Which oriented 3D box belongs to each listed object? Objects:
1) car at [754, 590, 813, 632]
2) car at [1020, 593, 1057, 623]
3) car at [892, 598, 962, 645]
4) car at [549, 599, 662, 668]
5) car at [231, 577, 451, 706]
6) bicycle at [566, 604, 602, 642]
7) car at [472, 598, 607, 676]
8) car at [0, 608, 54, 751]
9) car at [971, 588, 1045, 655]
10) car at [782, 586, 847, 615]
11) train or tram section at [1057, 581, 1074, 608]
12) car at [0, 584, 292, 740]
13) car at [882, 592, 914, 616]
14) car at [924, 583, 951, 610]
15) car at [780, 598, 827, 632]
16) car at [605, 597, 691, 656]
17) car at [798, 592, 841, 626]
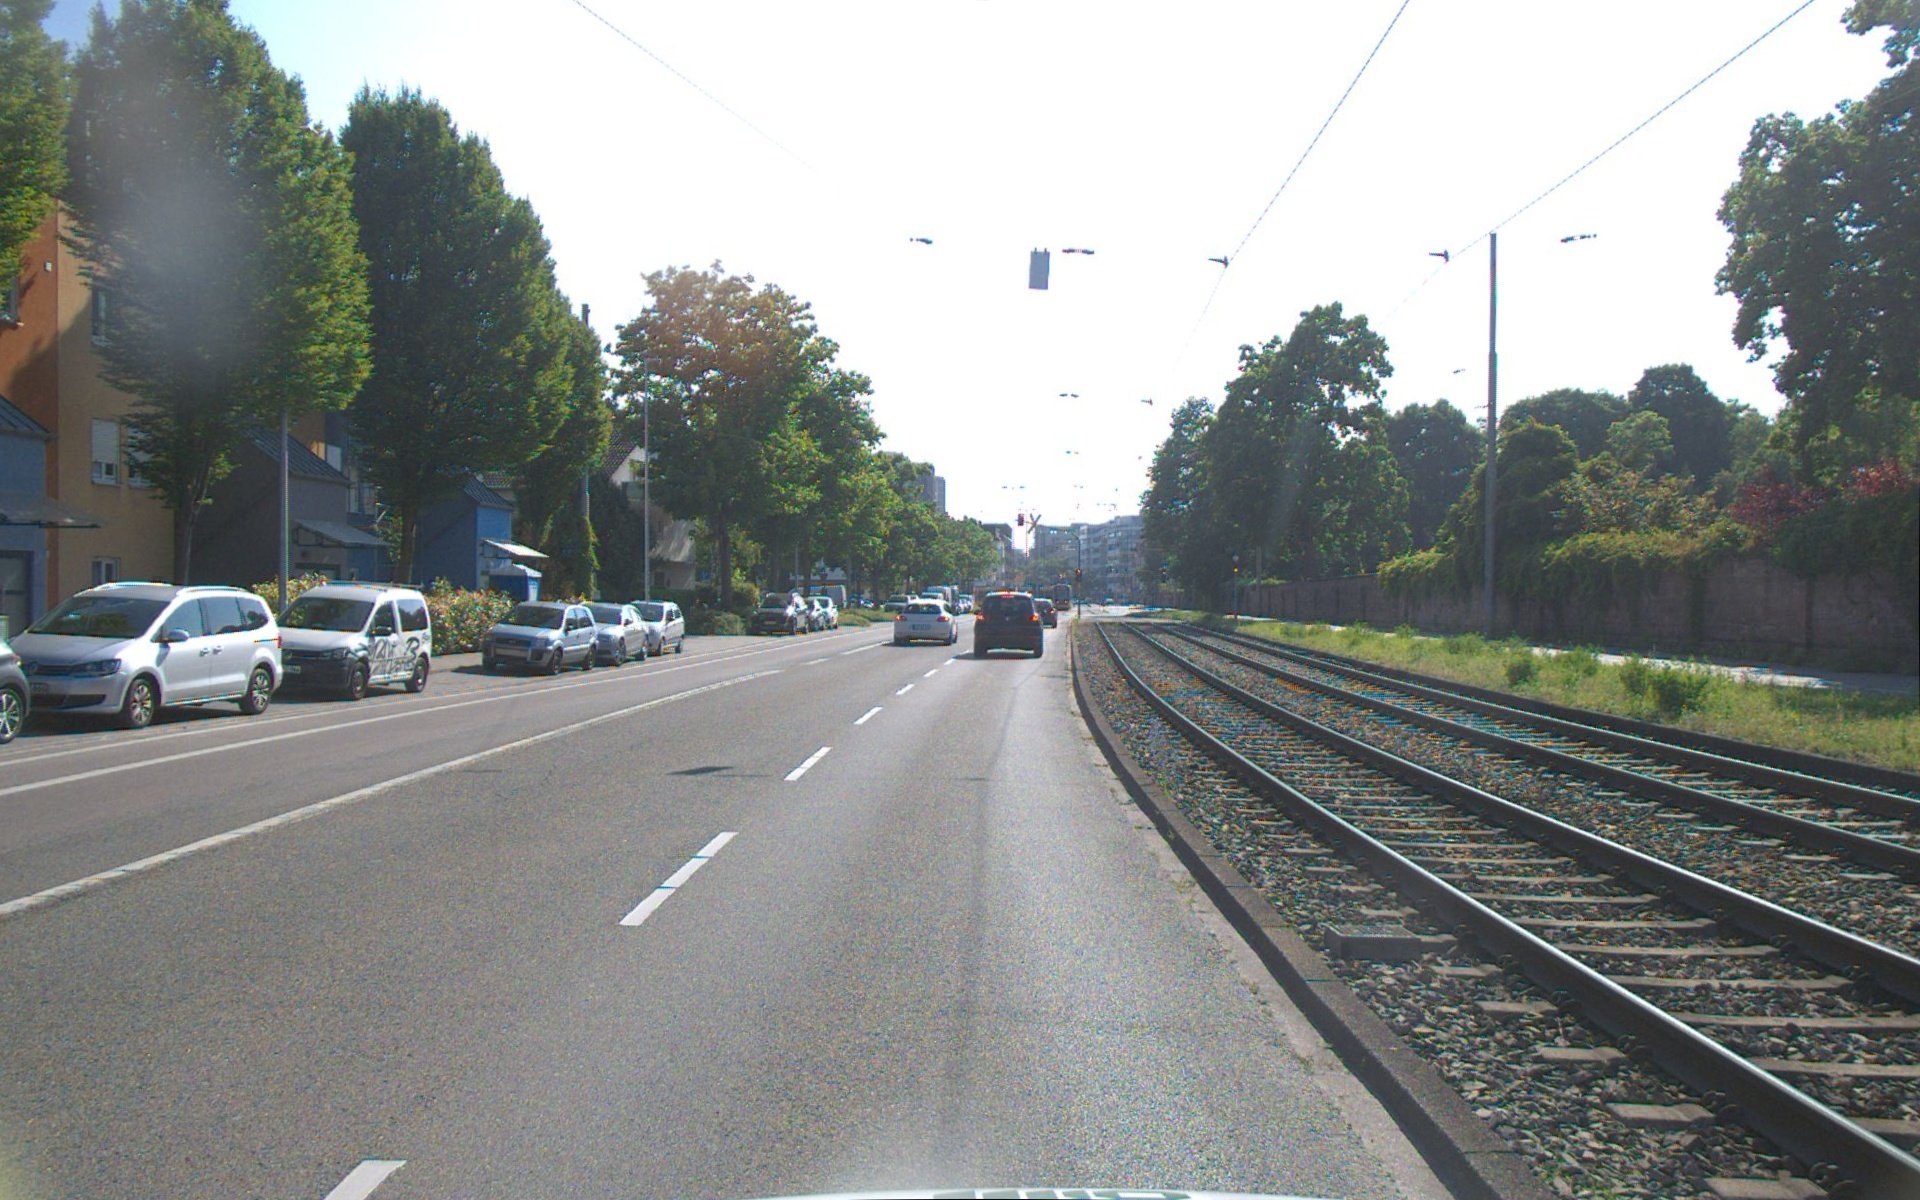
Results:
[{"bbox_3d":[-7.411,0.451,69.743,1.676,1.723,4.425,0,0,4],"label":"car"},{"bbox_3d":[4.011,0.388,83.709,1.773,1.474,4.002,1,0,4],"label":"car"},{"bbox_3d":[-1.009,0.647,51.977,1.825,1.371,4.002,0,0,4],"label":"car"},{"bbox_3d":[-9.159,0.822,43.076,1.713,1.537,4.756,4,0,1],"label":"car"},{"bbox_3d":[-10.331,0.635,28.022,1.726,1.877,4.581,4,0,2],"label":"car"},{"bbox_3d":[-11.822,0.711,52.019,0.434,1.174,1.786,0,-1,10],"label":"bicycle"},{"bbox_3d":[-9.580,0.810,37.999,1.726,1.565,3.983,4,0,4],"label":"car"},{"bbox_3d":[-10.962,0.833,16.420,1.582,1.491,4.059,2,0,2],"label":"car"},{"bbox_3d":[1.327,0.539,43.976,1.773,1.673,4.002,1,0,4],"label":"car"},{"bbox_3d":[-12.472,0.023,141.957,5.262,2.466,2.089,-1,0,4],"label":"car"},{"bbox_3d":[14.521,-0.772,227.851,2.277,3.632,8.905,0,0,4],"label":"train or tram section"},{"bbox_3d":[-10.563,0.703,21.320,1.633,1.730,4.826,2,0,4],"label":"car"},{"bbox_3d":[-4.419,0.280,118.319,1.695,1.687,4.003,0,0,5],"label":"car"},{"bbox_3d":[-2.014,-0.304,148.096,1.824,2.389,4.988,0,0,5],"label":"car"},{"bbox_3d":[-7.121,0.668,75.443,1.642,1.494,3.969,0,0,2],"label":"car"},{"bbox_3d":[-9.076,0.743,48.307,1.568,1.520,3.511,4,0,3],"label":"car"},{"bbox_3d":[-6.861,0.426,81.187,1.567,1.577,3.896,2,0,3],"label":"car"}]
